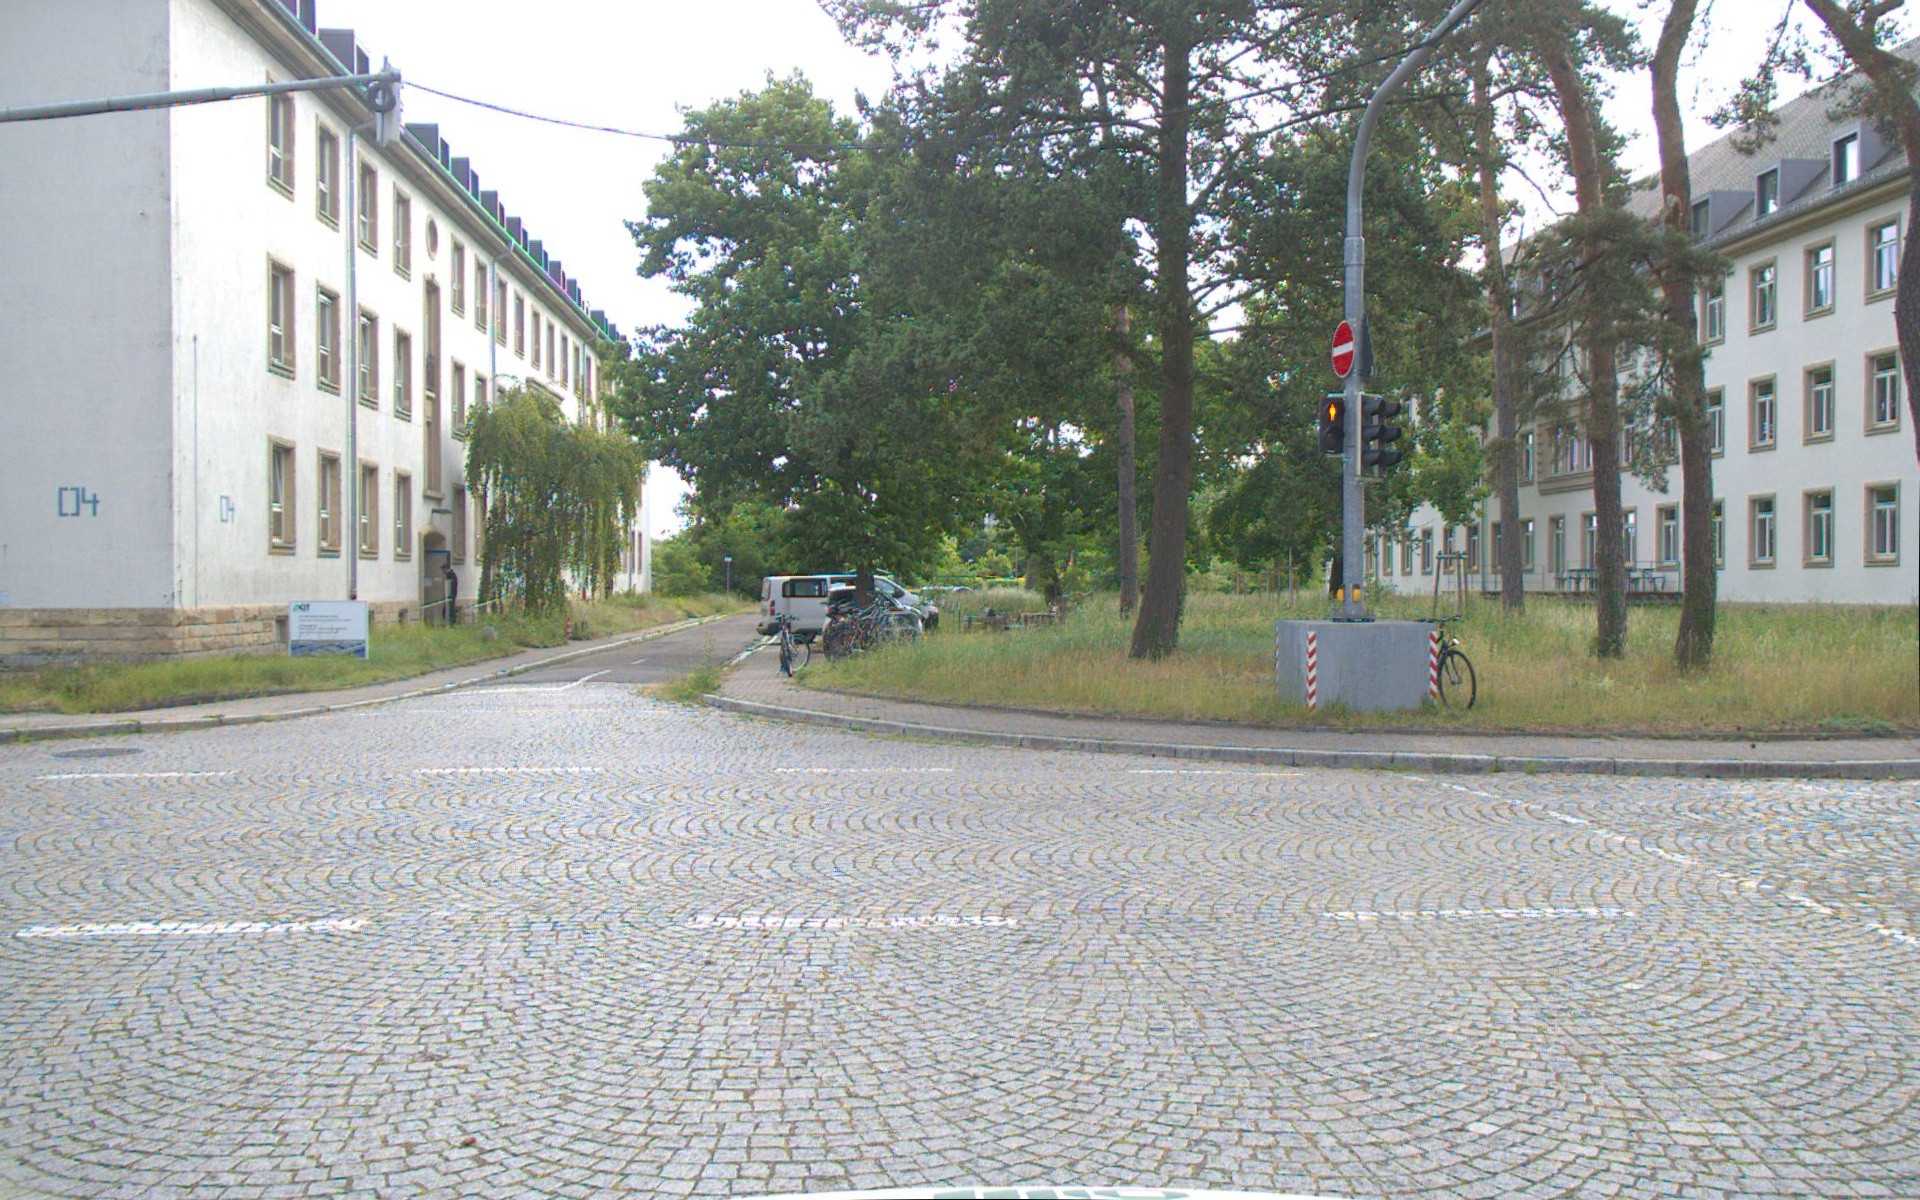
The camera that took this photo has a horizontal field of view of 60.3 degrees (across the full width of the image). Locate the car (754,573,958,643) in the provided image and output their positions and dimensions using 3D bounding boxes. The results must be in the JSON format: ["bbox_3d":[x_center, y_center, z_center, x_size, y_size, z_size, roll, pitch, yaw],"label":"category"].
[{"bbox_3d":[-3.045,0.206,48.017,5.600,1.944,2.220,0,0,-16],"label":"car"}]

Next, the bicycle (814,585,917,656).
[{"bbox_3d":[-1.884,0.406,33.072,2.028,1.402,0.619,0,0,-3],"label":"bicycle"}]

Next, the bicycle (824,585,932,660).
[{"bbox_3d":[-1.567,0.416,31.495,2.028,1.402,0.619,0,0,-3],"label":"bicycle"}]

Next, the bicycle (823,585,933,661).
[{"bbox_3d":[-1.523,0.416,30.873,2.028,1.402,0.619,0,0,-3],"label":"bicycle"}]

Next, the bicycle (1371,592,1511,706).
[{"bbox_3d":[5.306,0.514,18.371,0.891,1.197,1.872,0,0,-5],"label":"bicycle"}]

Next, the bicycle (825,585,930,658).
[{"bbox_3d":[-1.611,0.415,32.291,2.028,1.402,0.619,0,0,-3],"label":"bicycle"}]

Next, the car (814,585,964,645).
[{"bbox_3d":[-1.953,0.379,44.715,3.859,1.571,1.996,0,0,-9],"label":"car"}]

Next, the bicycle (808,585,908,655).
[{"bbox_3d":[-2.080,0.402,33.798,2.028,1.402,0.619,0,0,-3],"label":"bicycle"}]

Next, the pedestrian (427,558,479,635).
[{"bbox_3d":[-13.759,-0.091,44.875,1.064,2.049,1.022,0,0,1],"label":"pedestrian"}]

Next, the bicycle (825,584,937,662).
[{"bbox_3d":[-1.437,0.418,30.207,2.028,1.402,0.619,0,0,-3],"label":"bicycle"}]

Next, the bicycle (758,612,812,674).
[{"bbox_3d":[-2.980,0.715,28.304,0.605,0.980,2.077,0,0,3],"label":"bicycle"}]

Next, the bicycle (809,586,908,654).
[{"bbox_3d":[-2.114,0.402,34.544,2.028,1.402,0.619,0,0,-3],"label":"bicycle"}]
